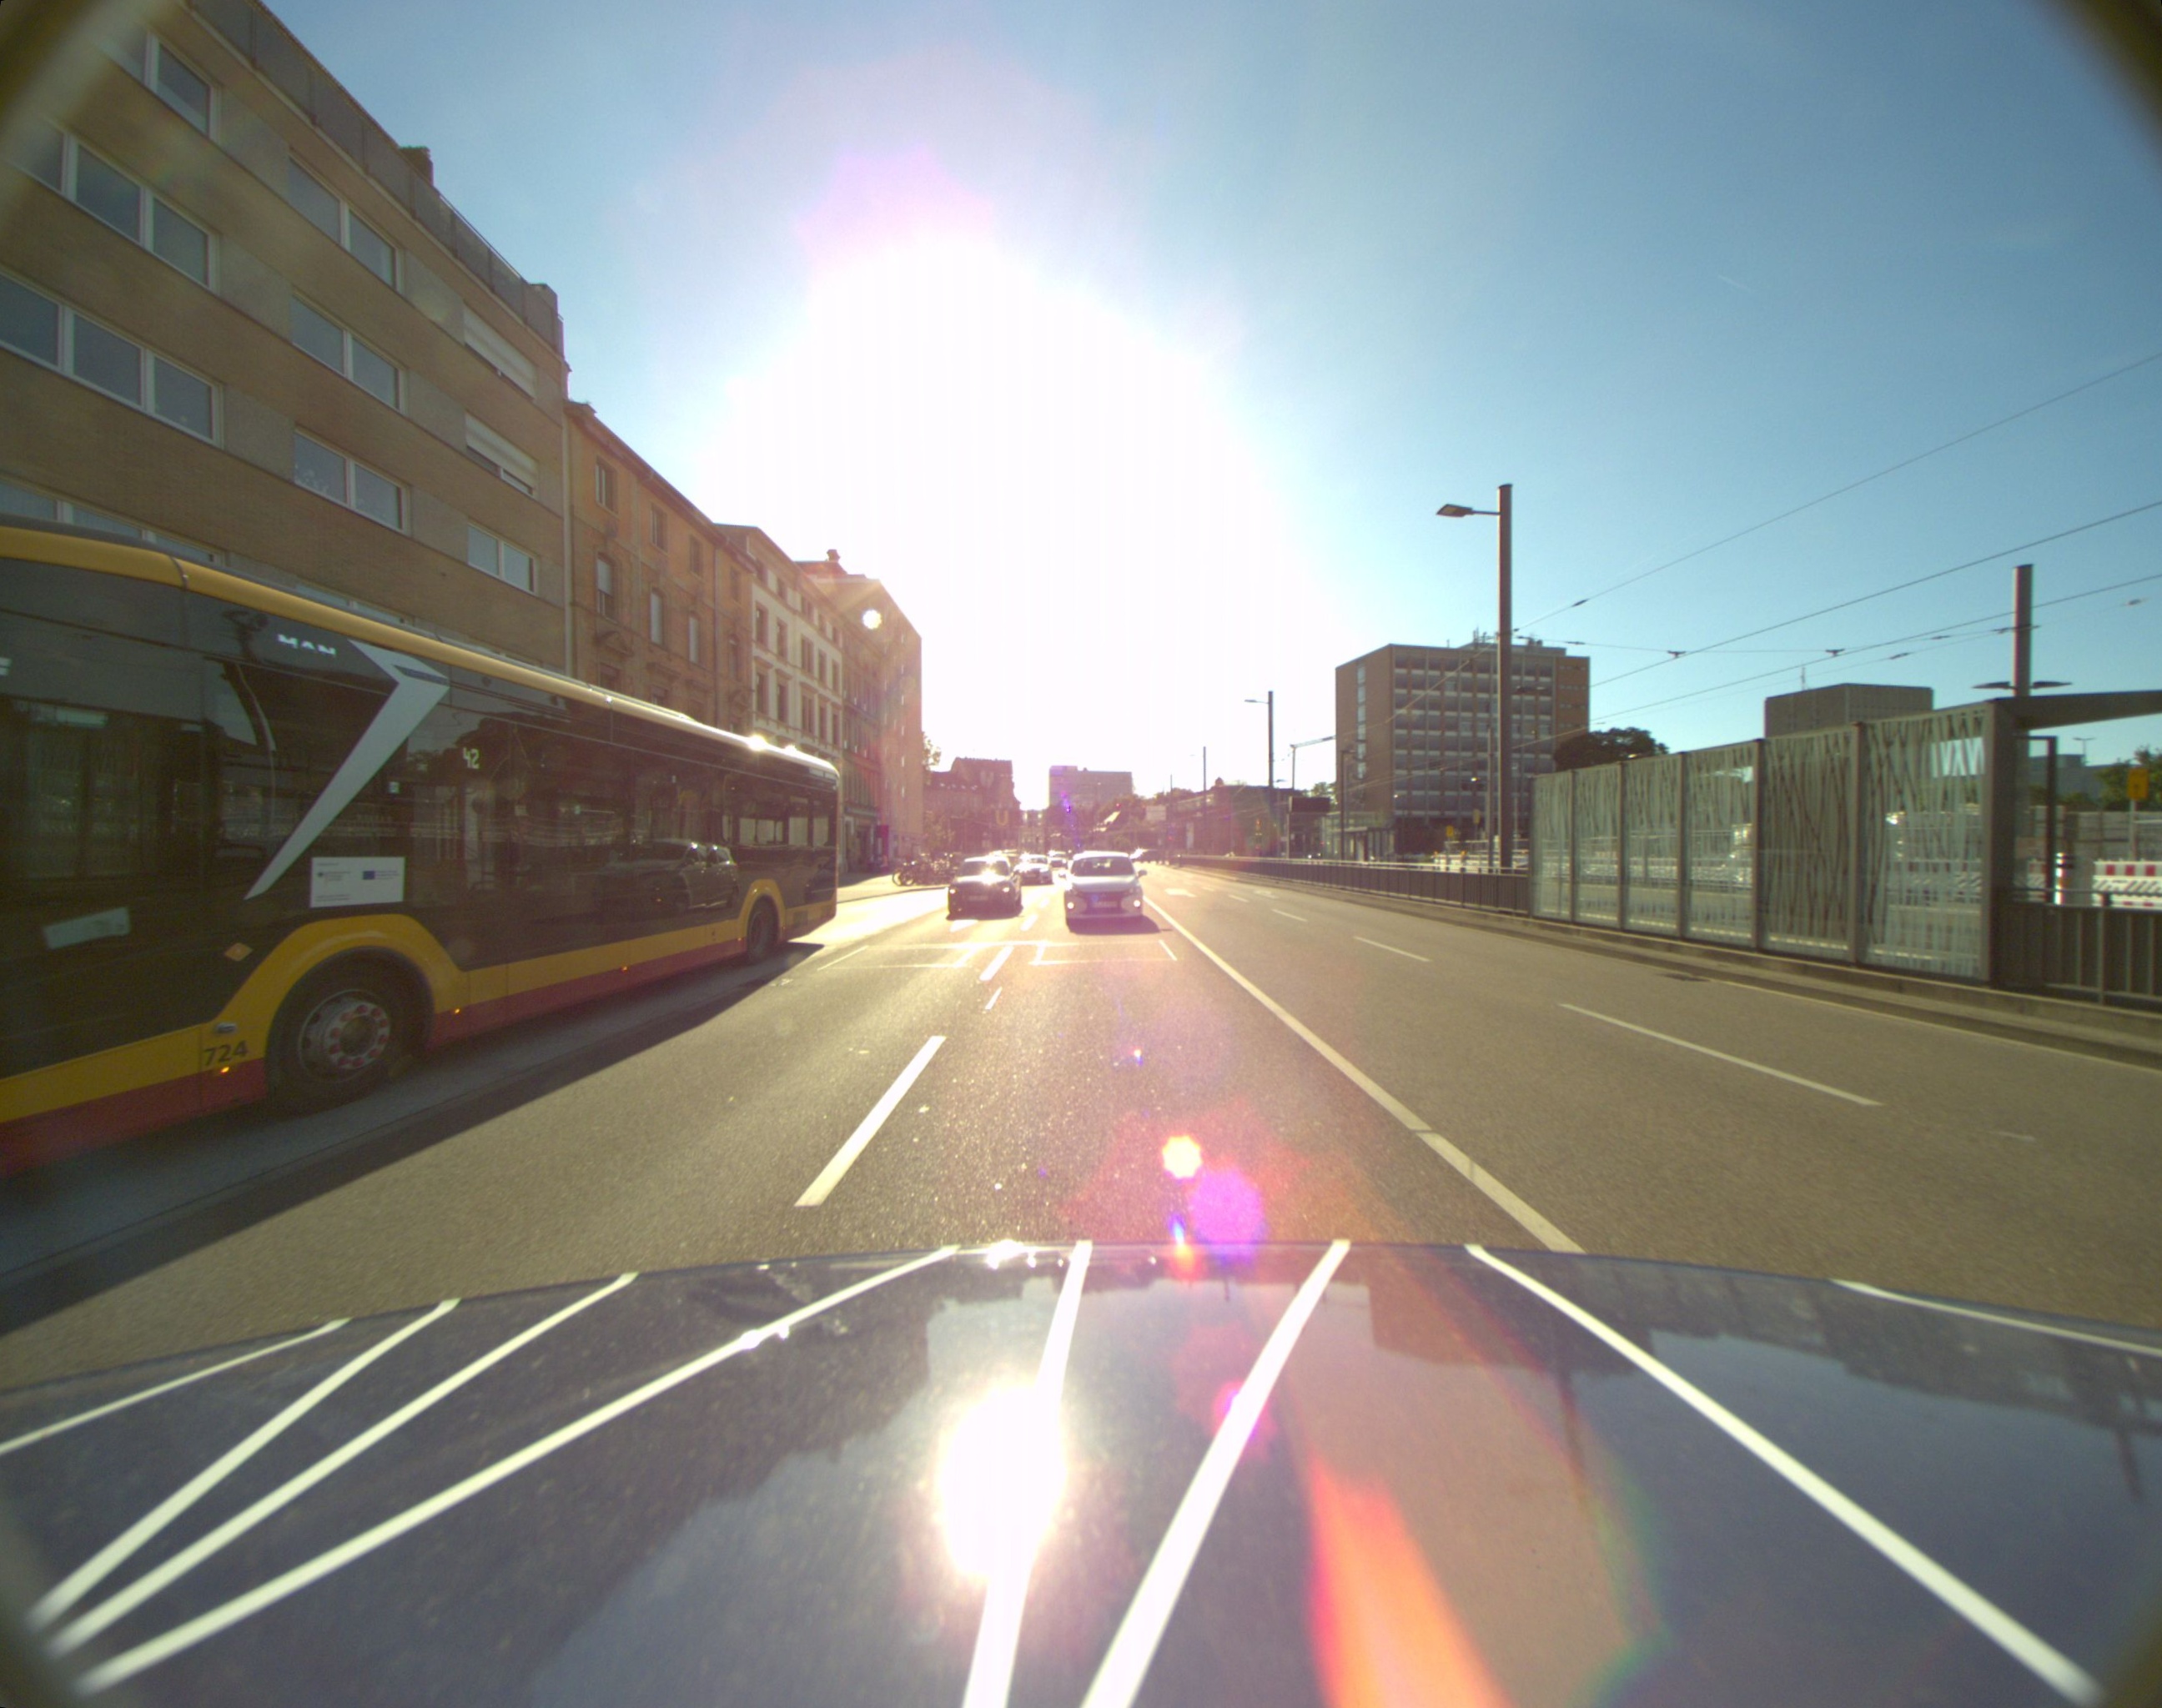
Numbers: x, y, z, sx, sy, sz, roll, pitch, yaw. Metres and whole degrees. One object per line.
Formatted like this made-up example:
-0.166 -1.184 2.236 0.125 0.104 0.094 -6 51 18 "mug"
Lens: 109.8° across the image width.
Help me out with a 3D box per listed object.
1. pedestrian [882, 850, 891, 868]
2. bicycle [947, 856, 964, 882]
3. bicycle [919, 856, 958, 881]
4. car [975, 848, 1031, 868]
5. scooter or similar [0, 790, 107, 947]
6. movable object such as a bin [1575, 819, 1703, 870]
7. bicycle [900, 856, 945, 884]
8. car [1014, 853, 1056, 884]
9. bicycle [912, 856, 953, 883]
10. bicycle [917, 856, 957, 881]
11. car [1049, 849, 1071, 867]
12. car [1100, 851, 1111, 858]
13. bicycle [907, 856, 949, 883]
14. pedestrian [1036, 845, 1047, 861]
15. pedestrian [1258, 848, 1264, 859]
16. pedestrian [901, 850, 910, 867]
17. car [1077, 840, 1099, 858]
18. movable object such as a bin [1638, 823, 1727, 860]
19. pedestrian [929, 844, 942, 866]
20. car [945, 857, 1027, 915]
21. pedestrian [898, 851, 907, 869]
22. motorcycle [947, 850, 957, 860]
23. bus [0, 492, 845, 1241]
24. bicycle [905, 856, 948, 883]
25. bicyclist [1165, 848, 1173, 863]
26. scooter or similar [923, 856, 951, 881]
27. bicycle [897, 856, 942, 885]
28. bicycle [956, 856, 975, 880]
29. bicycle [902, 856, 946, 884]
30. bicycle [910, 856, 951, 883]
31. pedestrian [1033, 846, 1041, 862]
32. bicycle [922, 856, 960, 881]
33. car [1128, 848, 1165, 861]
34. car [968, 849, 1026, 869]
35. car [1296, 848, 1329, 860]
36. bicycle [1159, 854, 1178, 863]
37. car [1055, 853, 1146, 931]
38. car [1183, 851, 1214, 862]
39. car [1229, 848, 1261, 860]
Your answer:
-14.104 0.362 55.085 0.516 1.312 0.591 -1 1 -7 "pedestrian"
-5.710 0.682 34.602 0.470 1.140 1.771 -1 0 1 "bicycle"
-6.837 0.689 36.563 1.769 1.171 0.470 -1 0 0 "bicycle"
-6.457 0.328 63.096 4.259 1.561 1.955 -2 1 -43 "car"
-8.818 0.108 6.105 0.432 1.242 1.293 1 2 -9 "scooter or similar"
30.679 -0.422 41.999 2.637 2.510 5.163 1 -2 -17 "movable object such as a bin"
-6.782 0.686 32.535 1.769 1.180 0.470 -1 0 0 "bicycle"
-2.228 0.696 37.618 1.825 1.380 4.457 -2 0 -1 "car"
-6.838 0.703 35.058 1.769 1.180 0.470 -1 0 0 "bicycle"
-6.828 0.690 36.065 1.769 1.180 0.470 -1 0 0 "bicycle"
-1.760 0.337 64.702 1.783 1.455 3.914 0 1 0 "car"
5.930 0.131 186.124 1.757 1.455 4.015 -1 -1 -12 "car"
-6.842 0.696 34.035 1.769 1.180 0.470 -1 0 0 "bicycle"
-4.302 -0.157 82.475 0.796 1.718 0.868 -1 1 -31 "pedestrian"
29.924 -0.127 126.310 0.620 1.730 0.667 2 3 43 "pedestrian"
-13.538 0.351 58.675 0.516 1.312 0.592 0 1 7 "pedestrian"
0.643 -0.518 72.495 1.999 1.666 4.282 0 1 -2 "car"
28.652 -0.544 36.351 1.176 1.577 3.866 1 -2 0 "movable object such as a bin"
-12.208 0.105 63.738 0.754 1.855 0.830 -1 1 -29 "pedestrian"
-2.478 0.797 20.622 1.694 1.380 3.832 -2 0 0 "car"
-13.610 0.451 57.979 0.516 1.312 0.592 0 1 7 "pedestrian"
-14.697 0.070 86.515 0.880 1.040 1.803 1 2 -2 "motorcycle"
-5.878 -0.001 8.056 2.722 3.163 12.539 1 1 0 "bus"
-6.829 0.676 33.529 1.769 1.180 0.470 -1 0 0 "bicycle"
9.315 0.189 80.586 0.676 1.607 0.815 1 1 -4 "bicyclist"
-7.172 0.710 37.839 1.210 1.209 0.641 -2 2 -26 "scooter or similar"
-6.803 0.706 32.040 1.769 1.180 0.470 -1 0 0 "bicycle"
-5.688 0.687 37.315 0.470 1.140 1.767 -1 0 -23 "bicycle"
-6.814 0.700 33.038 1.796 1.180 0.470 -1 0 0 "bicycle"
-6.837 0.702 34.538 1.769 1.180 0.470 -1 0 0 "bicycle"
-4.630 -0.006 79.278 0.698 1.718 0.752 -1 1 -16 "pedestrian"
-6.829 0.706 37.065 1.769 1.171 0.470 -1 0 0 "bicycle"
8.984 0.039 103.596 4.623 1.679 1.996 -1 1 -25 "car"
-6.564 0.375 59.434 4.121 1.455 1.956 -1 1 -41 "car"
34.545 -0.003 113.507 4.698 1.673 2.003 0 -2 15 "car"
9.270 0.439 80.588 1.894 0.936 0.815 1 1 -4 "bicycle"
0.549 0.759 17.086 1.720 1.484 3.871 -2 1 6 "car"
18.894 0.452 122.394 4.696 1.673 2.004 0 -2 20 "car"
25.181 0.000 116.902 4.698 1.673 2.003 0 -2 15 "car"
